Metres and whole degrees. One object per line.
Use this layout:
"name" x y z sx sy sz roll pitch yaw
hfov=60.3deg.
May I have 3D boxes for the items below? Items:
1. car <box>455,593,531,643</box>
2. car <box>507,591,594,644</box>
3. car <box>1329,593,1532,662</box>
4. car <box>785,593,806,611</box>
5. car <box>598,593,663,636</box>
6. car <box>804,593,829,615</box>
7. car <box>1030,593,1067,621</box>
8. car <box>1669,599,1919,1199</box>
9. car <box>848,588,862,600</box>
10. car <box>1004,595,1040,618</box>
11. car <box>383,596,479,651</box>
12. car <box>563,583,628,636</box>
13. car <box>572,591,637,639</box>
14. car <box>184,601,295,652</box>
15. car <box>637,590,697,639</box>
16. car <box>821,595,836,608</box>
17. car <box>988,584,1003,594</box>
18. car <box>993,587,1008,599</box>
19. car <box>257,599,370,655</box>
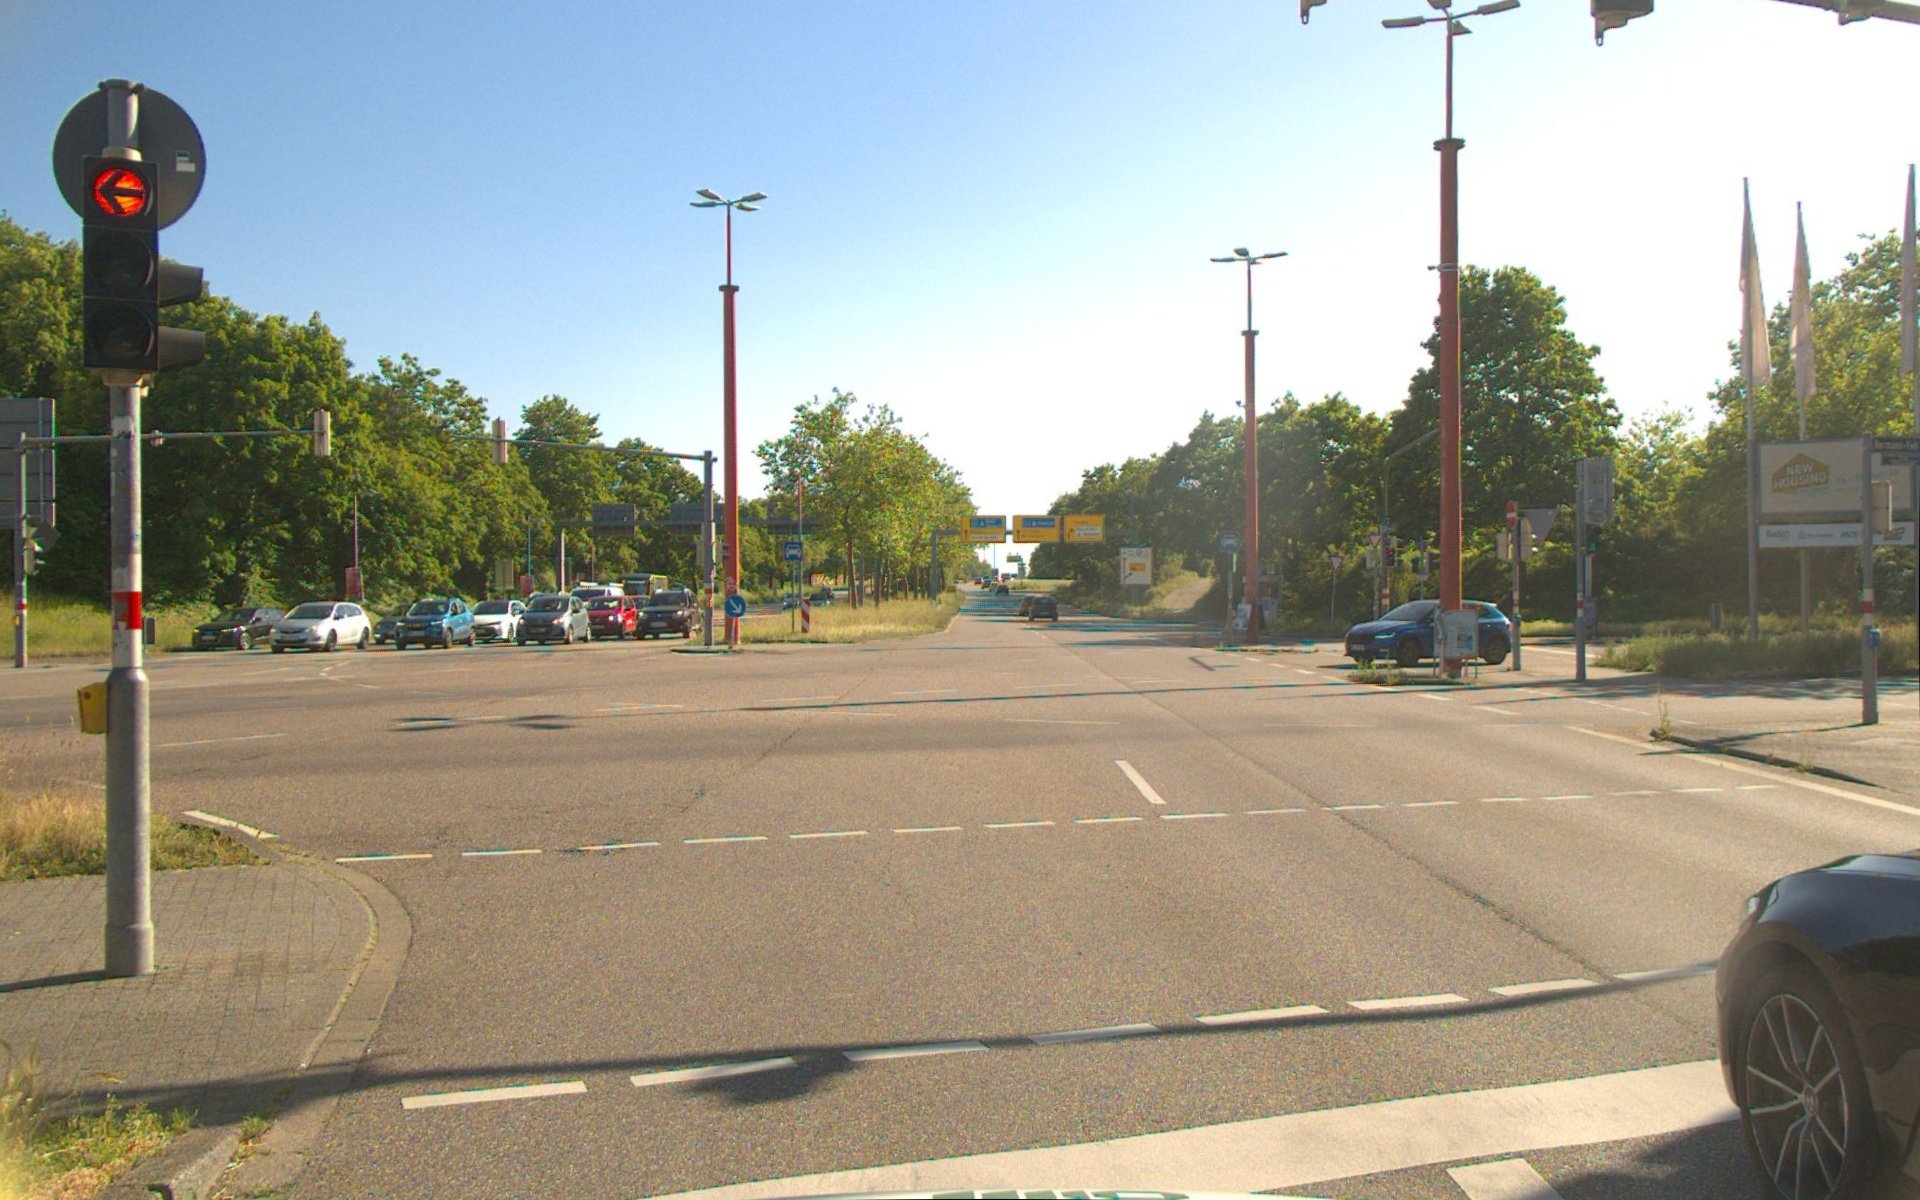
"car" -15.992 0.596 56.784 1.956 1.601 4.113 -1 0 -8
"car" -12.806 0.521 51.965 1.954 1.601 4.118 0 0 -4
"car" 10.682 0.591 37.543 4.208 1.453 1.871 0 0 -23
"car" -14.777 0.193 148.768 1.840 1.601 4.116 0 0 -5
"car" -12.713 0.528 64.047 1.954 1.601 4.117 0 0 -4
"car" -10.696 0.254 123.515 1.840 1.601 4.116 0 0 -5
"car" 5.224 0.421 98.432 2.114 1.601 4.282 0 0 2
"car" 2.975 0.711 2.362 1.953 1.419 4.476 0 0 -1
"car" -13.747 -0.766 216.500 1.840 1.601 4.116 0 0 -5
"car" 4.426 0.478 118.236 2.116 1.601 4.579 0 0 -4
"car" -16.209 0.682 50.891 1.955 1.601 4.116 0 0 -5
"car" -15.674 0.387 71.265 2.021 2.231 4.376 0 0 -3
"car" -12.480 0.507 58.271 1.956 1.601 4.113 0 0 -8
"car" -24.474 0.876 56.376 1.953 1.626 4.221 0 0 0
"car" -9.875 0.471 55.991 1.841 1.601 4.113 0 0 -8
"car" -17.149 0.201 215.375 1.840 1.601 4.116 0 0 -5
"car" 5.574 -1.698 259.997 2.115 1.601 4.279 0 0 -2
"car" 5.658 -0.951 233.467 2.114 1.601 4.281 0 0 1
"car" -19.587 0.785 50.297 1.954 1.601 4.118 0 0 -3
